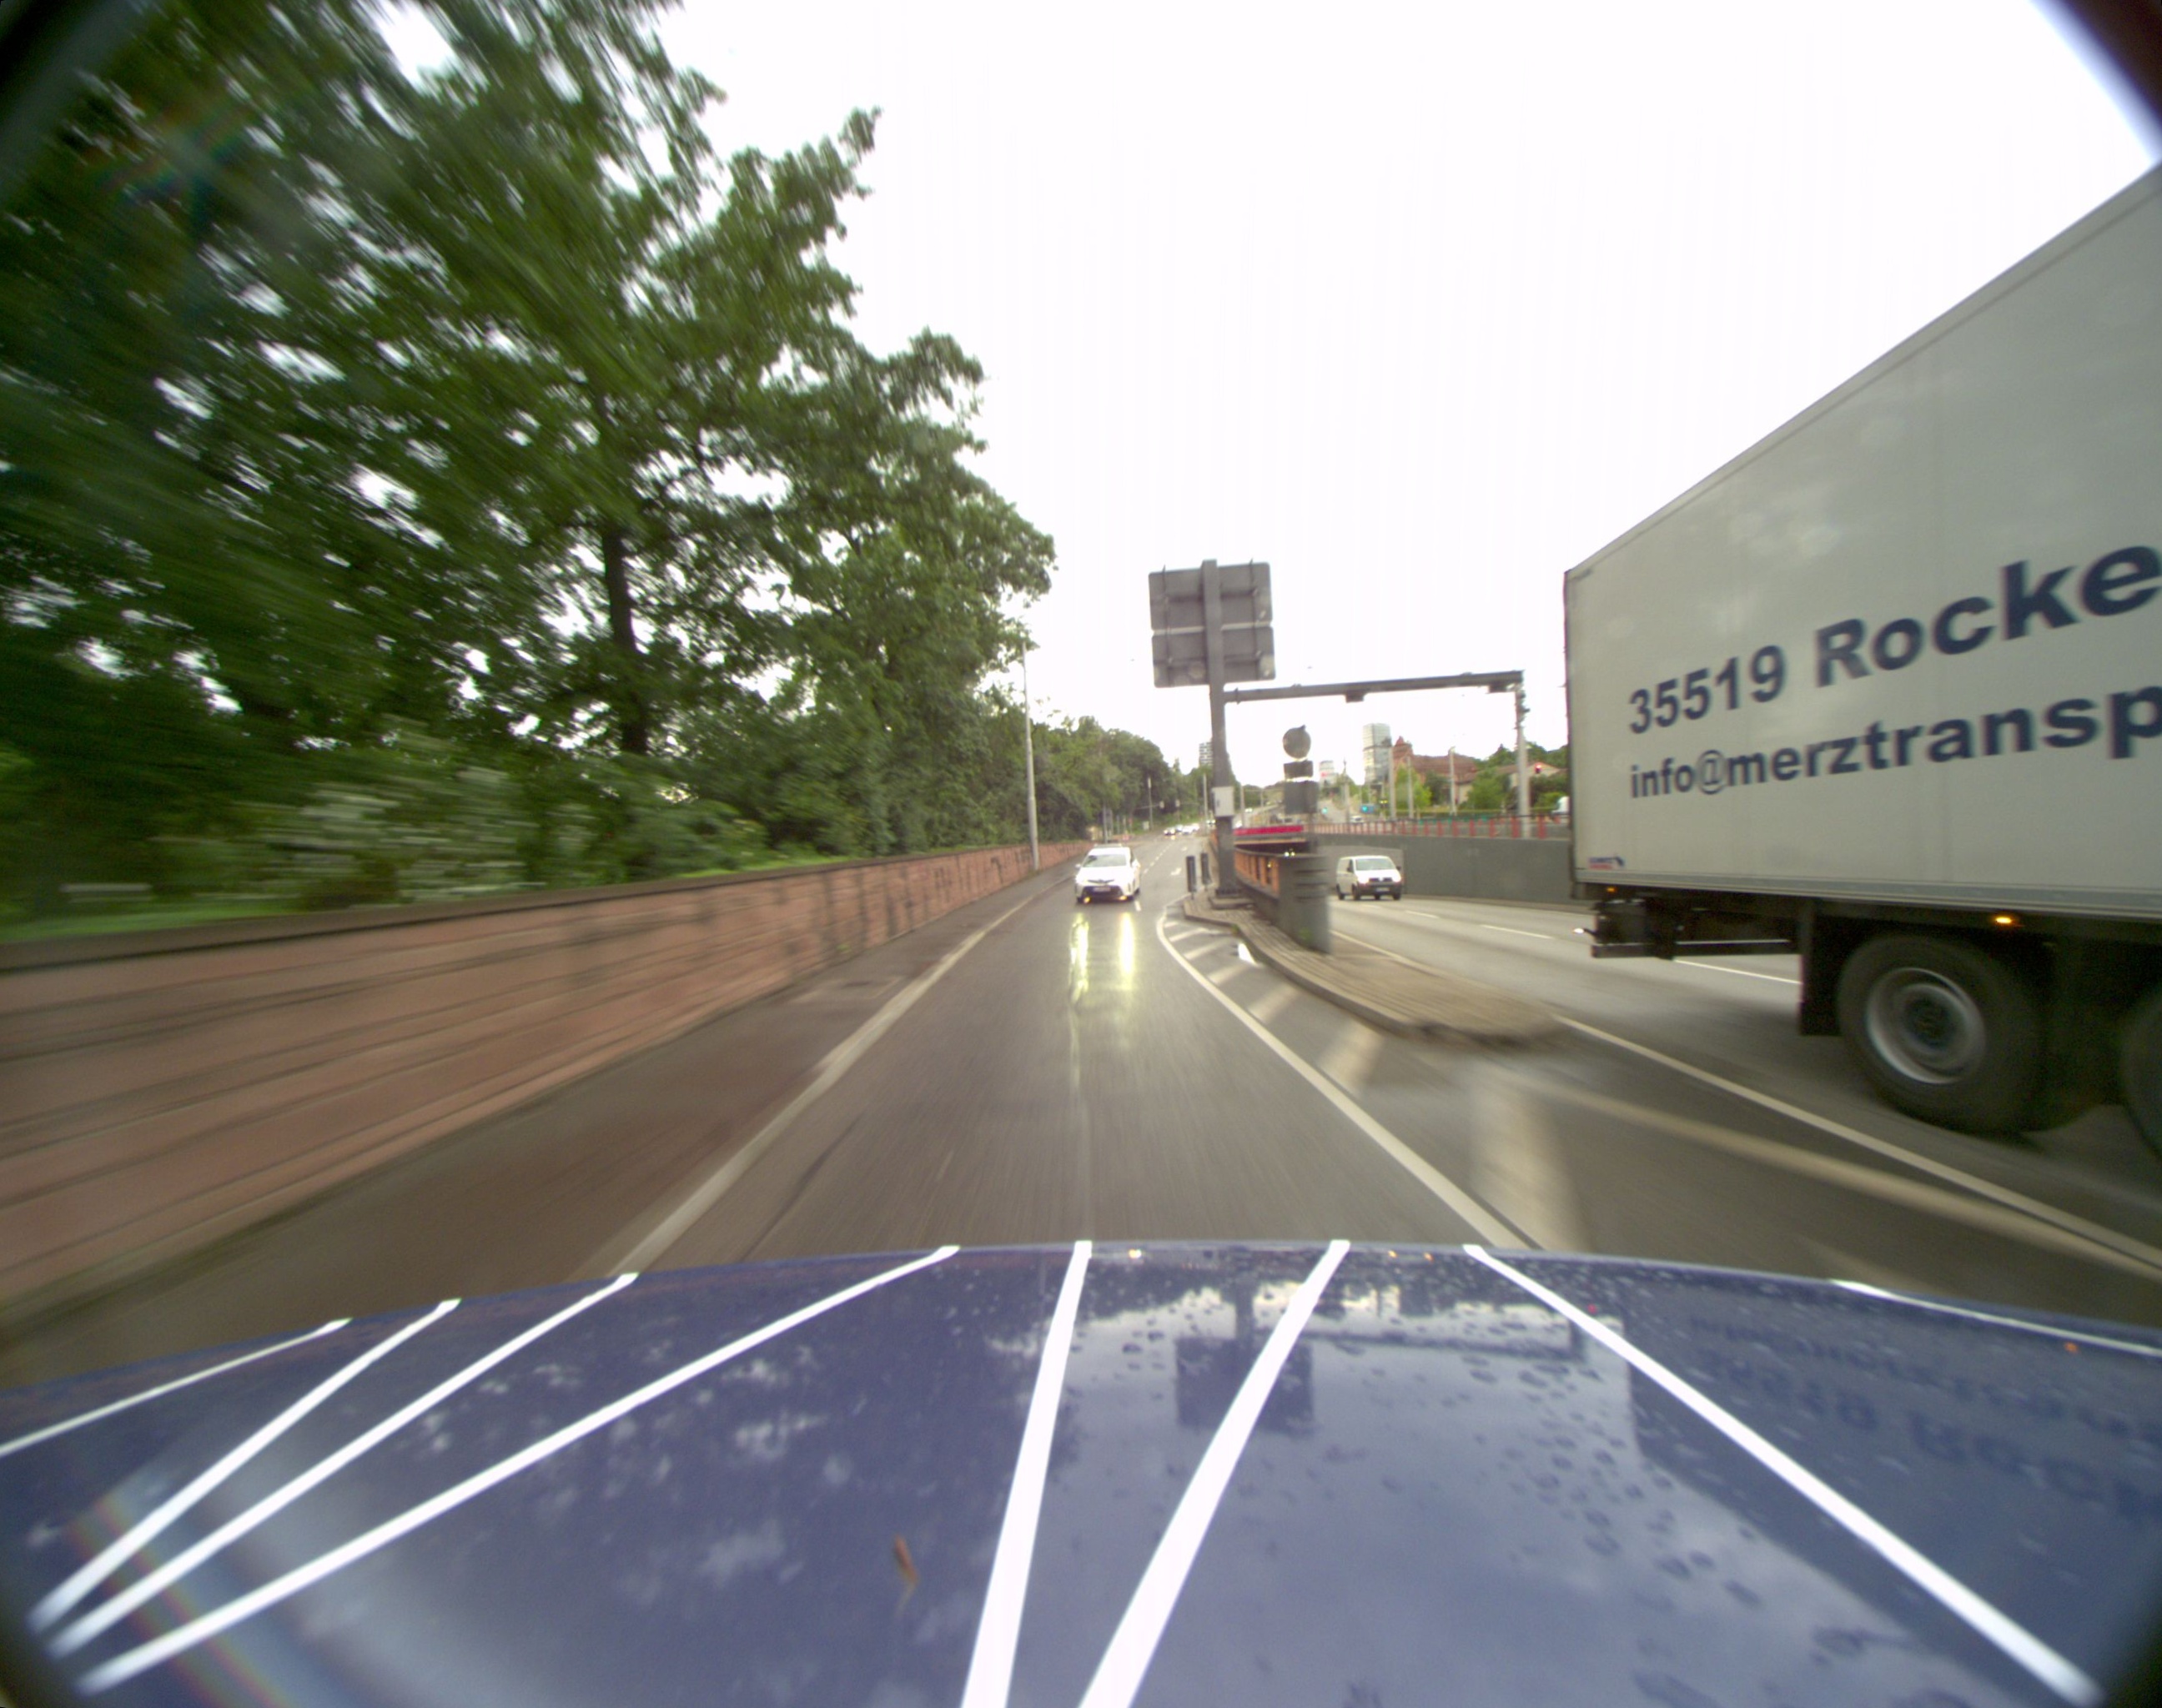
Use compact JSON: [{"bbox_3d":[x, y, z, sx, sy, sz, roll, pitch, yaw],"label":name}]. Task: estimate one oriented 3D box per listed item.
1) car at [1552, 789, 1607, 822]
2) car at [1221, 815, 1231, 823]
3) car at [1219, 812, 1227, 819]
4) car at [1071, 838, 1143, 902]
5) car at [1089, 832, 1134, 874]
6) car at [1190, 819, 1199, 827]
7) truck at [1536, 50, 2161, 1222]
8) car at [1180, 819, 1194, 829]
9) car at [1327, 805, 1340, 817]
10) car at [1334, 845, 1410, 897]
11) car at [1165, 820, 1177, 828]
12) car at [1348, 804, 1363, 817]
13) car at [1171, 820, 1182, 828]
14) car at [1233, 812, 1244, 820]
[{"bbox_3d":[45.839,-4.430,70.009,1.997,2.816,5.718,-1,3,9],"label":"car"},{"bbox_3d":[31.624,-7.559,165.627,1.888,1.463,4.011,-3,1,11],"label":"car"},{"bbox_3d":[30.961,-8.393,165.716,1.800,1.464,4.000,-3,4,10],"label":"car"},{"bbox_3d":[0.922,0.436,24.260,1.855,1.742,4.000,-1,3,8],"label":"car"},{"bbox_3d":[1.498,-0.105,35.675,1.855,1.579,3.998,-3,4,5],"label":"car"},{"bbox_3d":[23.274,-6.281,155.599,1.800,1.503,4.002,-3,1,9],"label":"car"},{"bbox_3d":[5.038,-0.724,0.606,2.768,4.174,13.032,-2,2,6],"label":"truck"},{"bbox_3d":[19.050,-5.417,136.613,1.736,1.579,4.002,-2,5,18],"label":"car"},{"bbox_3d":[47.483,-8.141,142.773,1.995,2.004,4.003,-2,6,24],"label":"car"},{"bbox_3d":[12.754,0.747,33.610,1.997,2.015,4.689,-3,-1,7],"label":"car"},{"bbox_3d":[16.850,-5.562,141.602,1.888,1.463,4.011,-3,1,11],"label":"car"},{"bbox_3d":[48.052,-7.635,132.822,1.996,2.004,4.000,-3,5,14],"label":"car"},{"bbox_3d":[19.839,-6.158,157.184,1.888,1.463,4.011,-3,1,11],"label":"car"},{"bbox_3d":[33.164,-8.034,160.360,1.736,1.579,4.002,-2,5,18],"label":"car"}]
